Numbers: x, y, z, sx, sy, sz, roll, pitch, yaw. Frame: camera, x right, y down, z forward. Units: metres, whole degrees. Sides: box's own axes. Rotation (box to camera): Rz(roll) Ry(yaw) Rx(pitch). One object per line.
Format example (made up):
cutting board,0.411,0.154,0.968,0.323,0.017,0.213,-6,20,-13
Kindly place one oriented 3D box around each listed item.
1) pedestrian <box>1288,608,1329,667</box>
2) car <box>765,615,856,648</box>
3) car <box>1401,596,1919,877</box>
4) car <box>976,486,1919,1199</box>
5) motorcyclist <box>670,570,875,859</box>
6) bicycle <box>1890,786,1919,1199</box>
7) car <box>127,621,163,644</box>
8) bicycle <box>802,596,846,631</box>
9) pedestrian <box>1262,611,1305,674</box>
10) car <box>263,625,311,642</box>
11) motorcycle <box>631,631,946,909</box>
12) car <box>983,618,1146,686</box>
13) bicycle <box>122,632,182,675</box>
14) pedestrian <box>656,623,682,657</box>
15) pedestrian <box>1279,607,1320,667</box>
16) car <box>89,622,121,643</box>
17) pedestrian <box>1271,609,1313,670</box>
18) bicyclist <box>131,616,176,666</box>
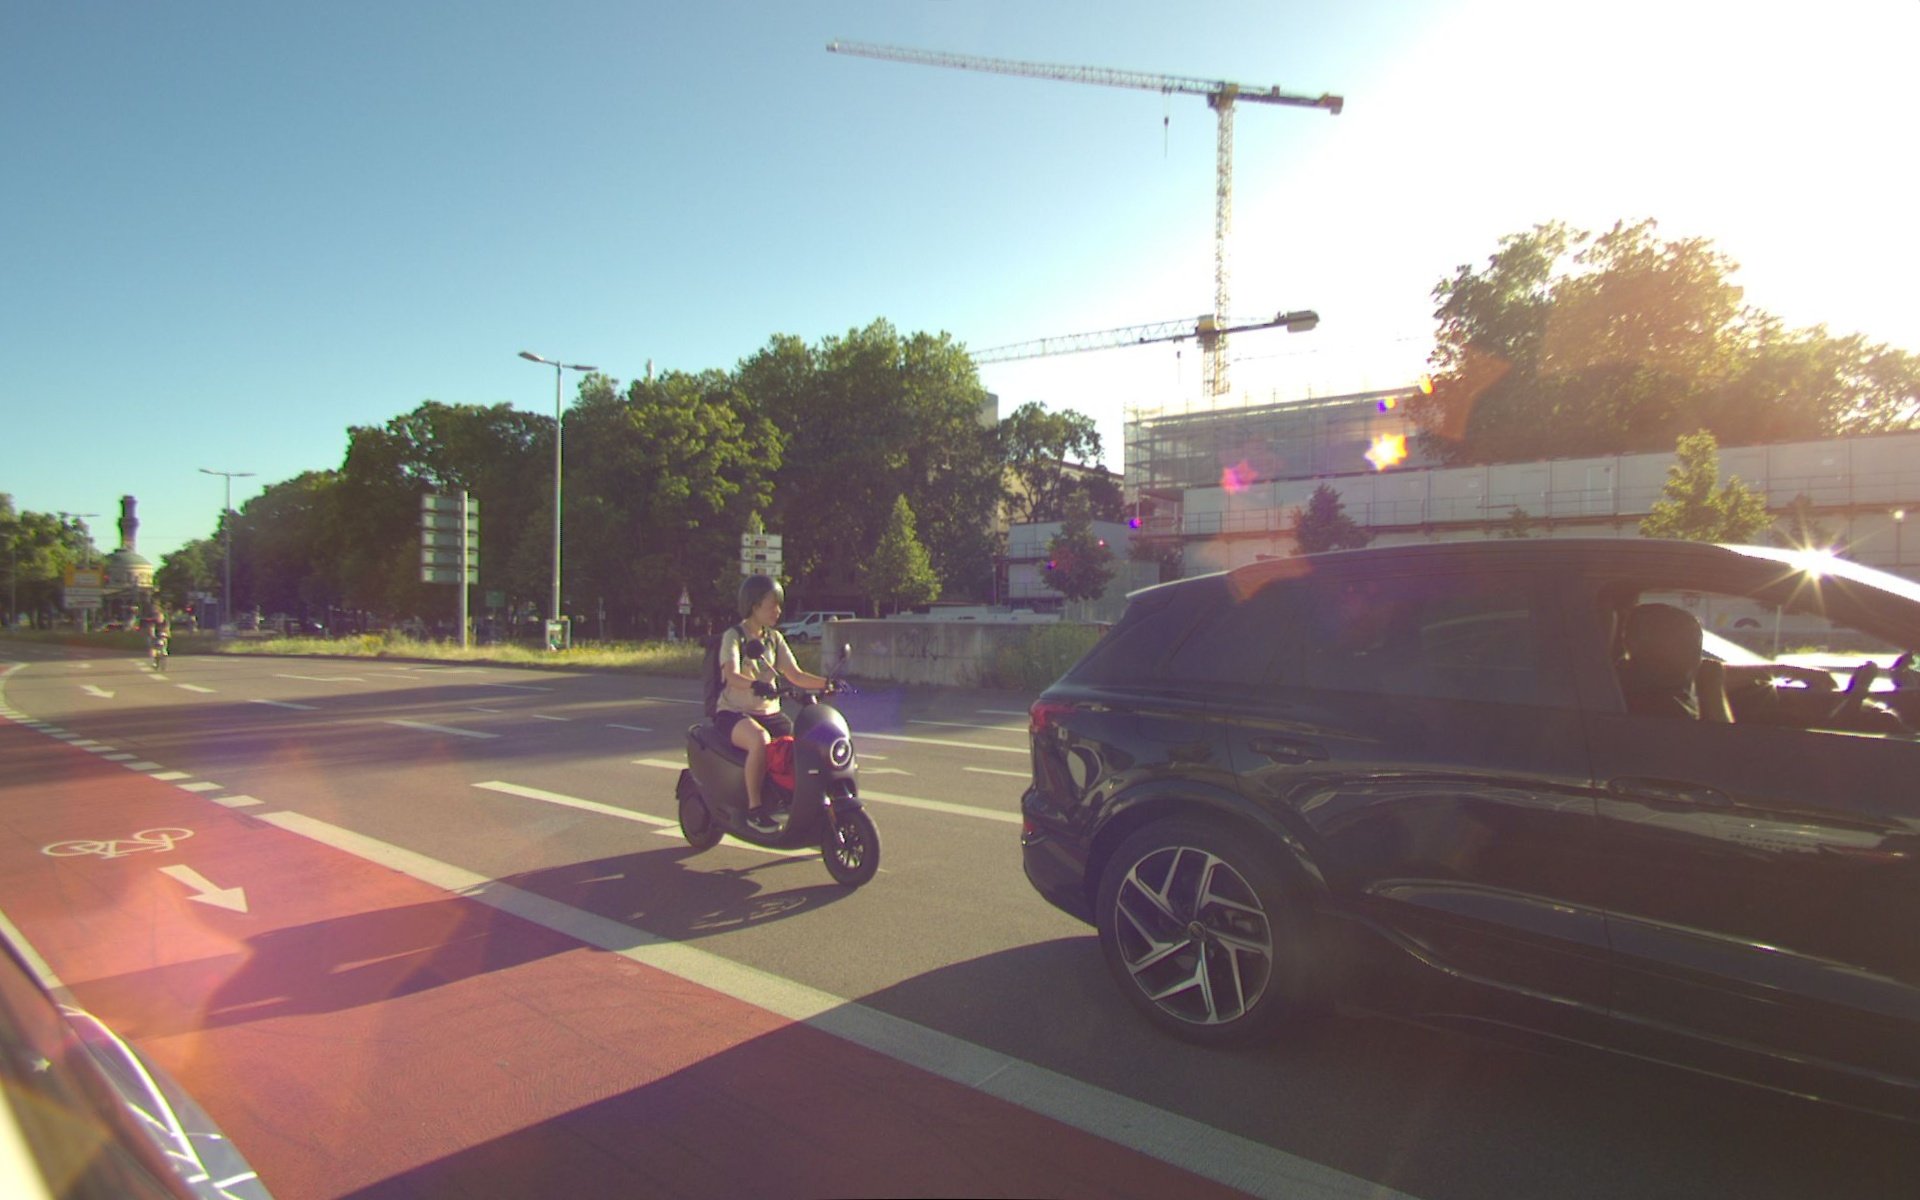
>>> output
pedestrian,12.432,1.327,36.104,1.135,2.029,0.930,-1,0,35
car,-9.051,1.906,61.853,2.065,1.950,5.443,-1,-2,42
car,4.981,0.752,6.552,3.603,1.497,1.477,-2,-1,41
car,2.422,0.575,3.033,4.677,1.647,1.753,-1,0,40
motorcyclist,-1.073,0.594,5.777,0.917,1.485,0.717,-2,-1,41
bicycle,1.487,0.788,0.214,1.829,1.227,0.610,-2,-1,39
car,-71.423,2.820,88.622,3.998,1.841,1.796,-1,0,41
bicycle,-4.623,0.442,34.406,1.649,1.163,0.490,-1,0,40
pedestrian,10.784,1.392,33.734,1.135,2.029,0.930,-1,0,35
car,-81.072,4.060,121.946,1.879,1.851,4.519,-1,0,45
motorcycle,-1.027,0.840,5.737,1.883,1.303,0.715,-2,-1,41
car,2.614,1.267,25.779,3.894,1.597,1.637,-1,-2,39
bicycle,-23.008,1.495,28.791,2.806,1.124,0.843,-2,-1,41
pedestrian,-16.267,2.242,56.576,1.018,1.845,0.976,-1,0,39
pedestrian,11.853,1.281,35.355,1.135,2.029,0.930,-1,0,35
car,-79.857,3.001,94.546,3.945,1.802,1.725,-1,0,41
pedestrian,11.327,1.324,34.531,1.135,2.029,0.930,-1,0,35
bicyclist,-22.841,1.159,28.656,0.829,1.358,0.843,-2,-1,41
